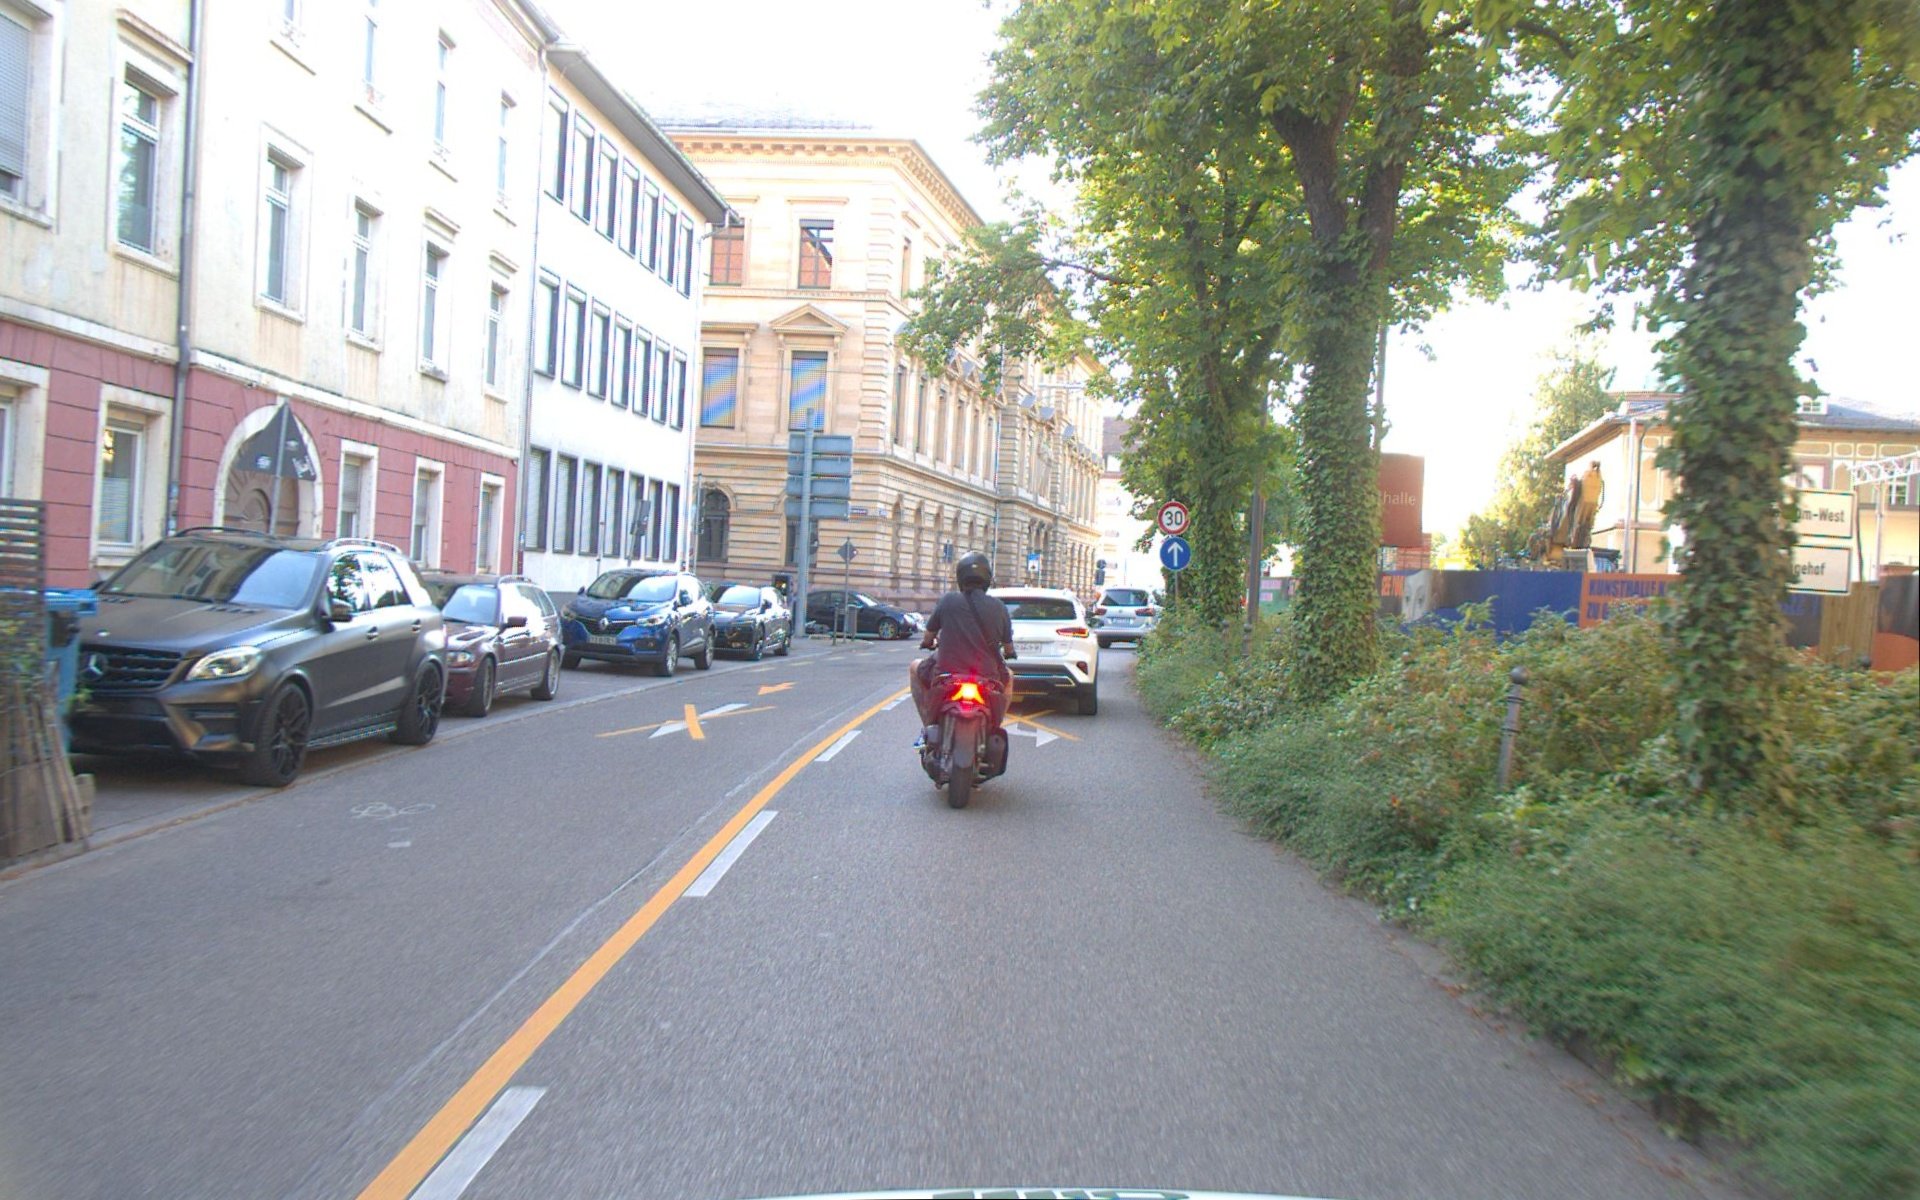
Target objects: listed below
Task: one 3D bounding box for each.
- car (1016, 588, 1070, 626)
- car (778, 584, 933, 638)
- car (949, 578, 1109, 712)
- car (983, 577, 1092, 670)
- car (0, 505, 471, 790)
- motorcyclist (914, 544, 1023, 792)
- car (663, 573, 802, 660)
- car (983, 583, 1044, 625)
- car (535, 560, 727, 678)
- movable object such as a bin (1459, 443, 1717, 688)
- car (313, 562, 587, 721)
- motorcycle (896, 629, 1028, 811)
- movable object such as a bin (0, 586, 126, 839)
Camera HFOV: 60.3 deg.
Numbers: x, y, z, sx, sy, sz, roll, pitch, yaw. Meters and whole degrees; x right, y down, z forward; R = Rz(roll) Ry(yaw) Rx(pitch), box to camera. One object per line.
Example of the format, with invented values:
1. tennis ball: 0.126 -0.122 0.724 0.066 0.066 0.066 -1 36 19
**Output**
1. car: 3.700 0.276 72.837 1.951 1.555 4.188 2 0 8
2. car: -3.067 0.310 48.870 4.222 1.414 1.777 2 0 14
3. car: 0.922 0.503 21.011 1.812 1.506 4.059 1 0 4
4. car: 1.496 0.397 30.832 1.802 1.489 4.060 4 1 4
5. car: -5.430 0.262 12.589 1.882 1.709 4.785 2 1 1
6. motorcyclist: 0.071 0.466 11.799 0.643 1.679 0.651 4 0 3
7. car: -4.574 0.298 33.927 1.786 1.529 4.763 4 1 4
8. car: 2.216 0.164 67.271 1.951 1.594 4.292 2 0 8
9. car: -5.214 0.266 26.836 1.893 1.696 4.349 2 1 4
10. movable object such as a bin: 13.305 -0.700 35.869 3.237 4.618 7.911 2 0 7
11. car: -5.547 0.390 18.586 1.619 1.506 4.428 2 1 1
12. motorcycle: 0.048 0.795 11.628 0.780 1.084 1.726 4 0 3
13. movable object such as a bin: -5.553 0.586 9.296 1.190 1.318 0.931 2 0 3
